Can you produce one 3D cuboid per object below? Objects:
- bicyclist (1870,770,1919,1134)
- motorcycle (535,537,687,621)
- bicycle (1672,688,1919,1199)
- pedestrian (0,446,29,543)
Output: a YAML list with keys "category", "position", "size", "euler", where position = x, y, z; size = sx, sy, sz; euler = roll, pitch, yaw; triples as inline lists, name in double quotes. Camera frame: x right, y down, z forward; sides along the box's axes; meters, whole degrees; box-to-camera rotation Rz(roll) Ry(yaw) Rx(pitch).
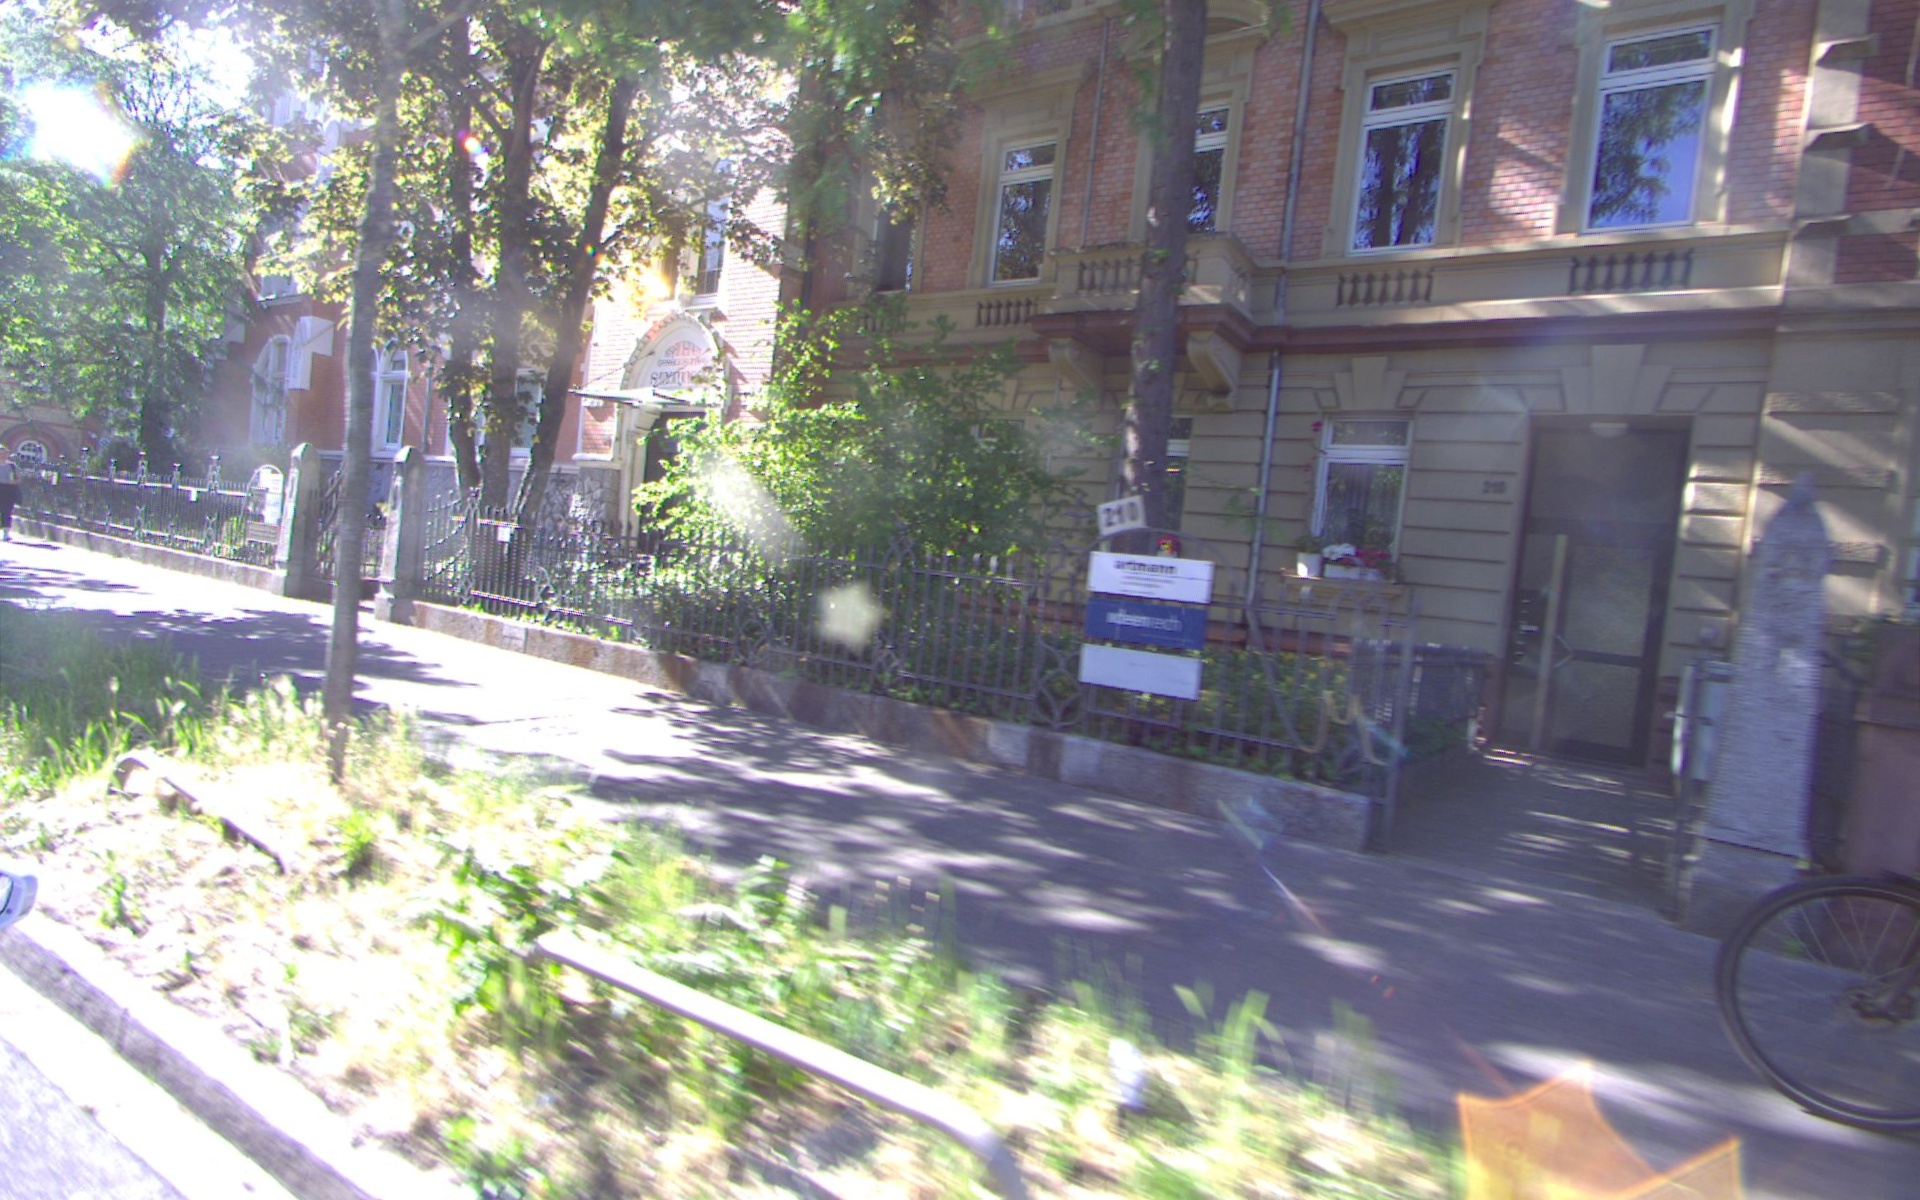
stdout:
- category: "bicyclist"
  position: [3.078, 0.622, 2.509]
  size: [0.874, 1.720, 0.645]
  euler: [8, 5, 29]
- category: "motorcycle"
  position: [-4.959, -0.282, 14.384]
  size: [0.771, 1.045, 1.870]
  euler: [6, 2, 42]
- category: "bicycle"
  position: [3.032, 0.977, 2.553]
  size: [1.811, 1.193, 0.652]
  euler: [7, 5, 30]
- category: "pedestrian"
  position: [-17.212, -1.903, 17.974]
  size: [0.807, 1.682, 0.694]
  euler: [7, 5, 33]
